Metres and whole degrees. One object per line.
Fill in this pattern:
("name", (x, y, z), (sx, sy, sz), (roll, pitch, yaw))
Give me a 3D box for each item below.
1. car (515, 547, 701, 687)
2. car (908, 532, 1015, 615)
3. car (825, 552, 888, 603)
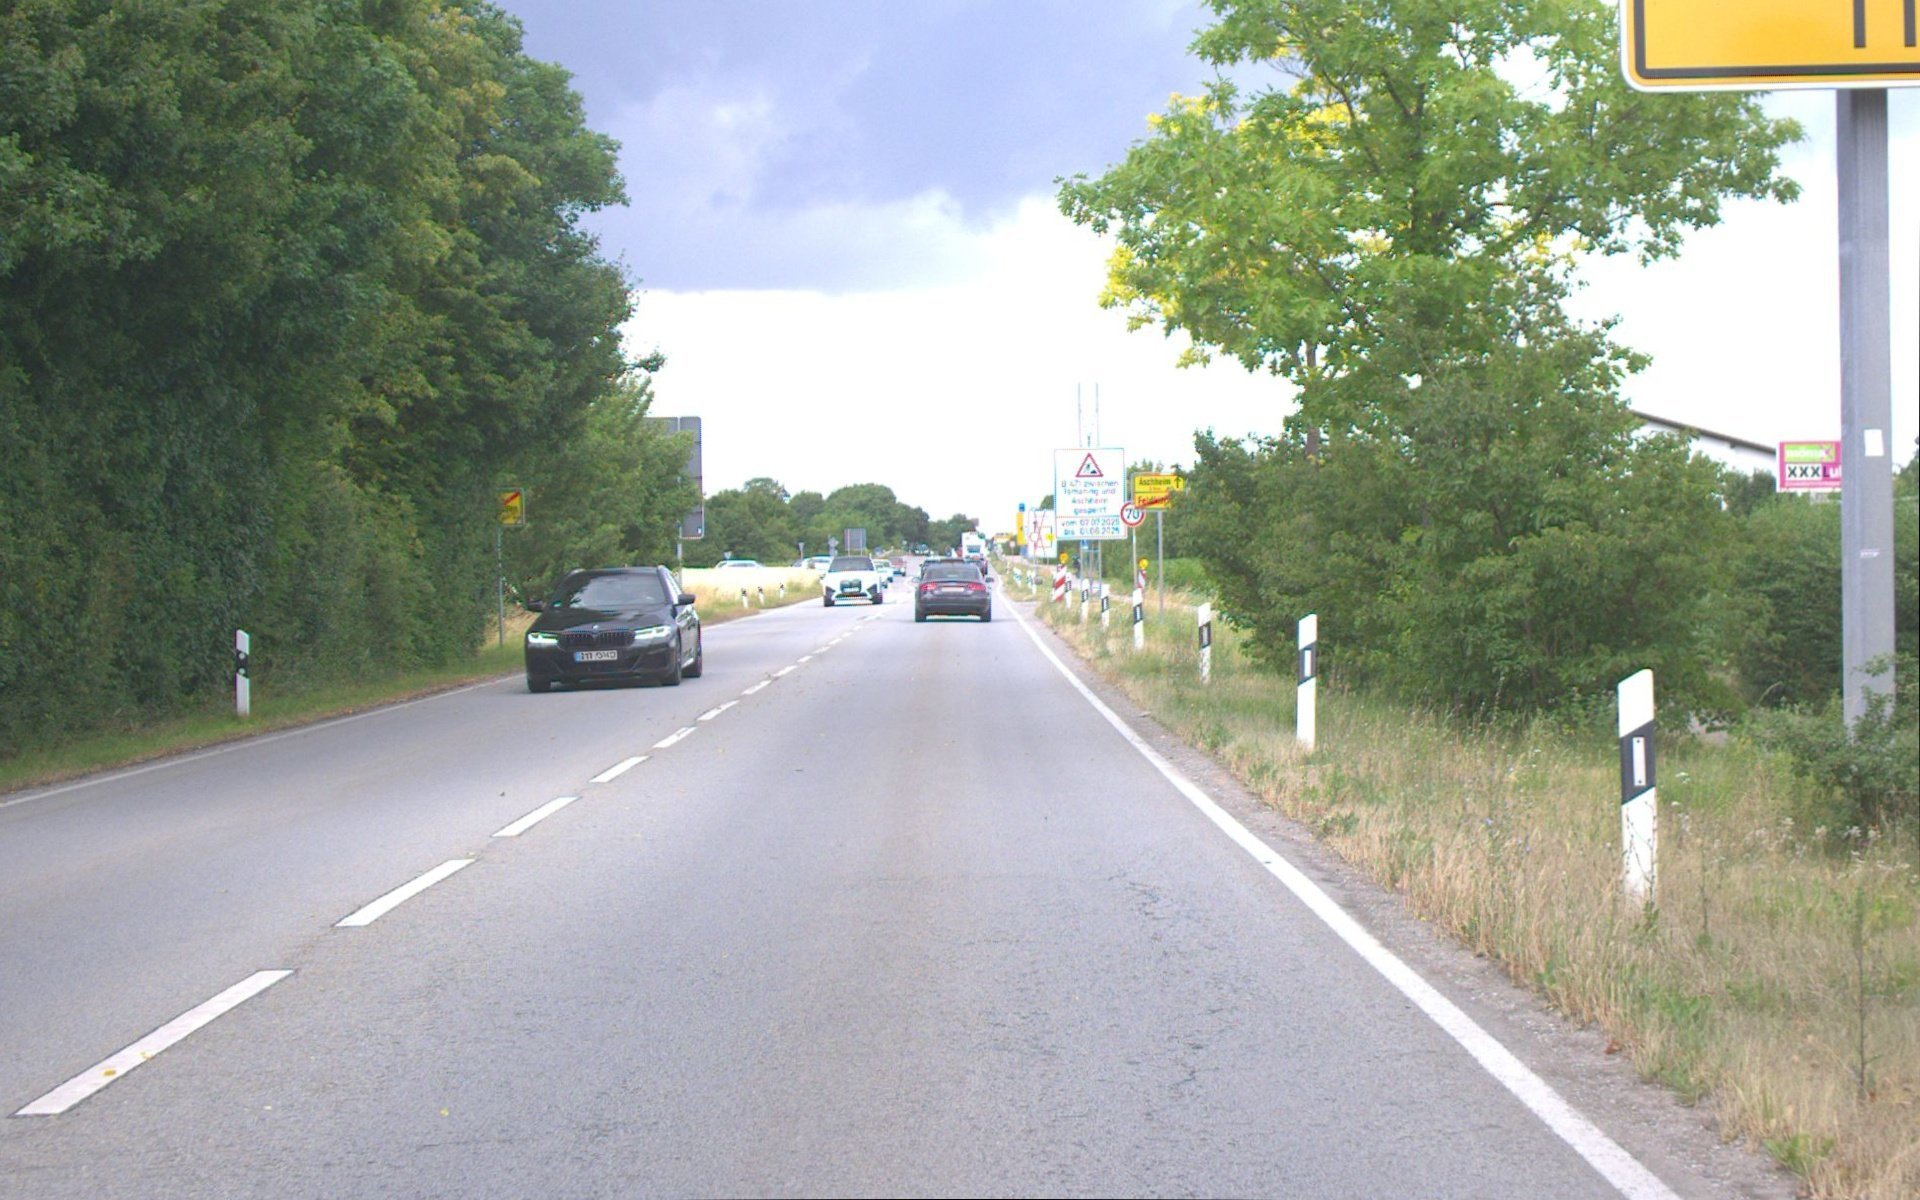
("car", (-4.342, 0.180, 42.989), (1.940, 1.580, 4.556), (-3, 1, -2))
("car", (0.005, -0.646, 83.593), (2.371, 1.874, 4.478), (-3, 1, -2))
("car", (-3.555, -0.802, 118.785), (1.993, 1.678, 4.810), (-1, 1, 0))
